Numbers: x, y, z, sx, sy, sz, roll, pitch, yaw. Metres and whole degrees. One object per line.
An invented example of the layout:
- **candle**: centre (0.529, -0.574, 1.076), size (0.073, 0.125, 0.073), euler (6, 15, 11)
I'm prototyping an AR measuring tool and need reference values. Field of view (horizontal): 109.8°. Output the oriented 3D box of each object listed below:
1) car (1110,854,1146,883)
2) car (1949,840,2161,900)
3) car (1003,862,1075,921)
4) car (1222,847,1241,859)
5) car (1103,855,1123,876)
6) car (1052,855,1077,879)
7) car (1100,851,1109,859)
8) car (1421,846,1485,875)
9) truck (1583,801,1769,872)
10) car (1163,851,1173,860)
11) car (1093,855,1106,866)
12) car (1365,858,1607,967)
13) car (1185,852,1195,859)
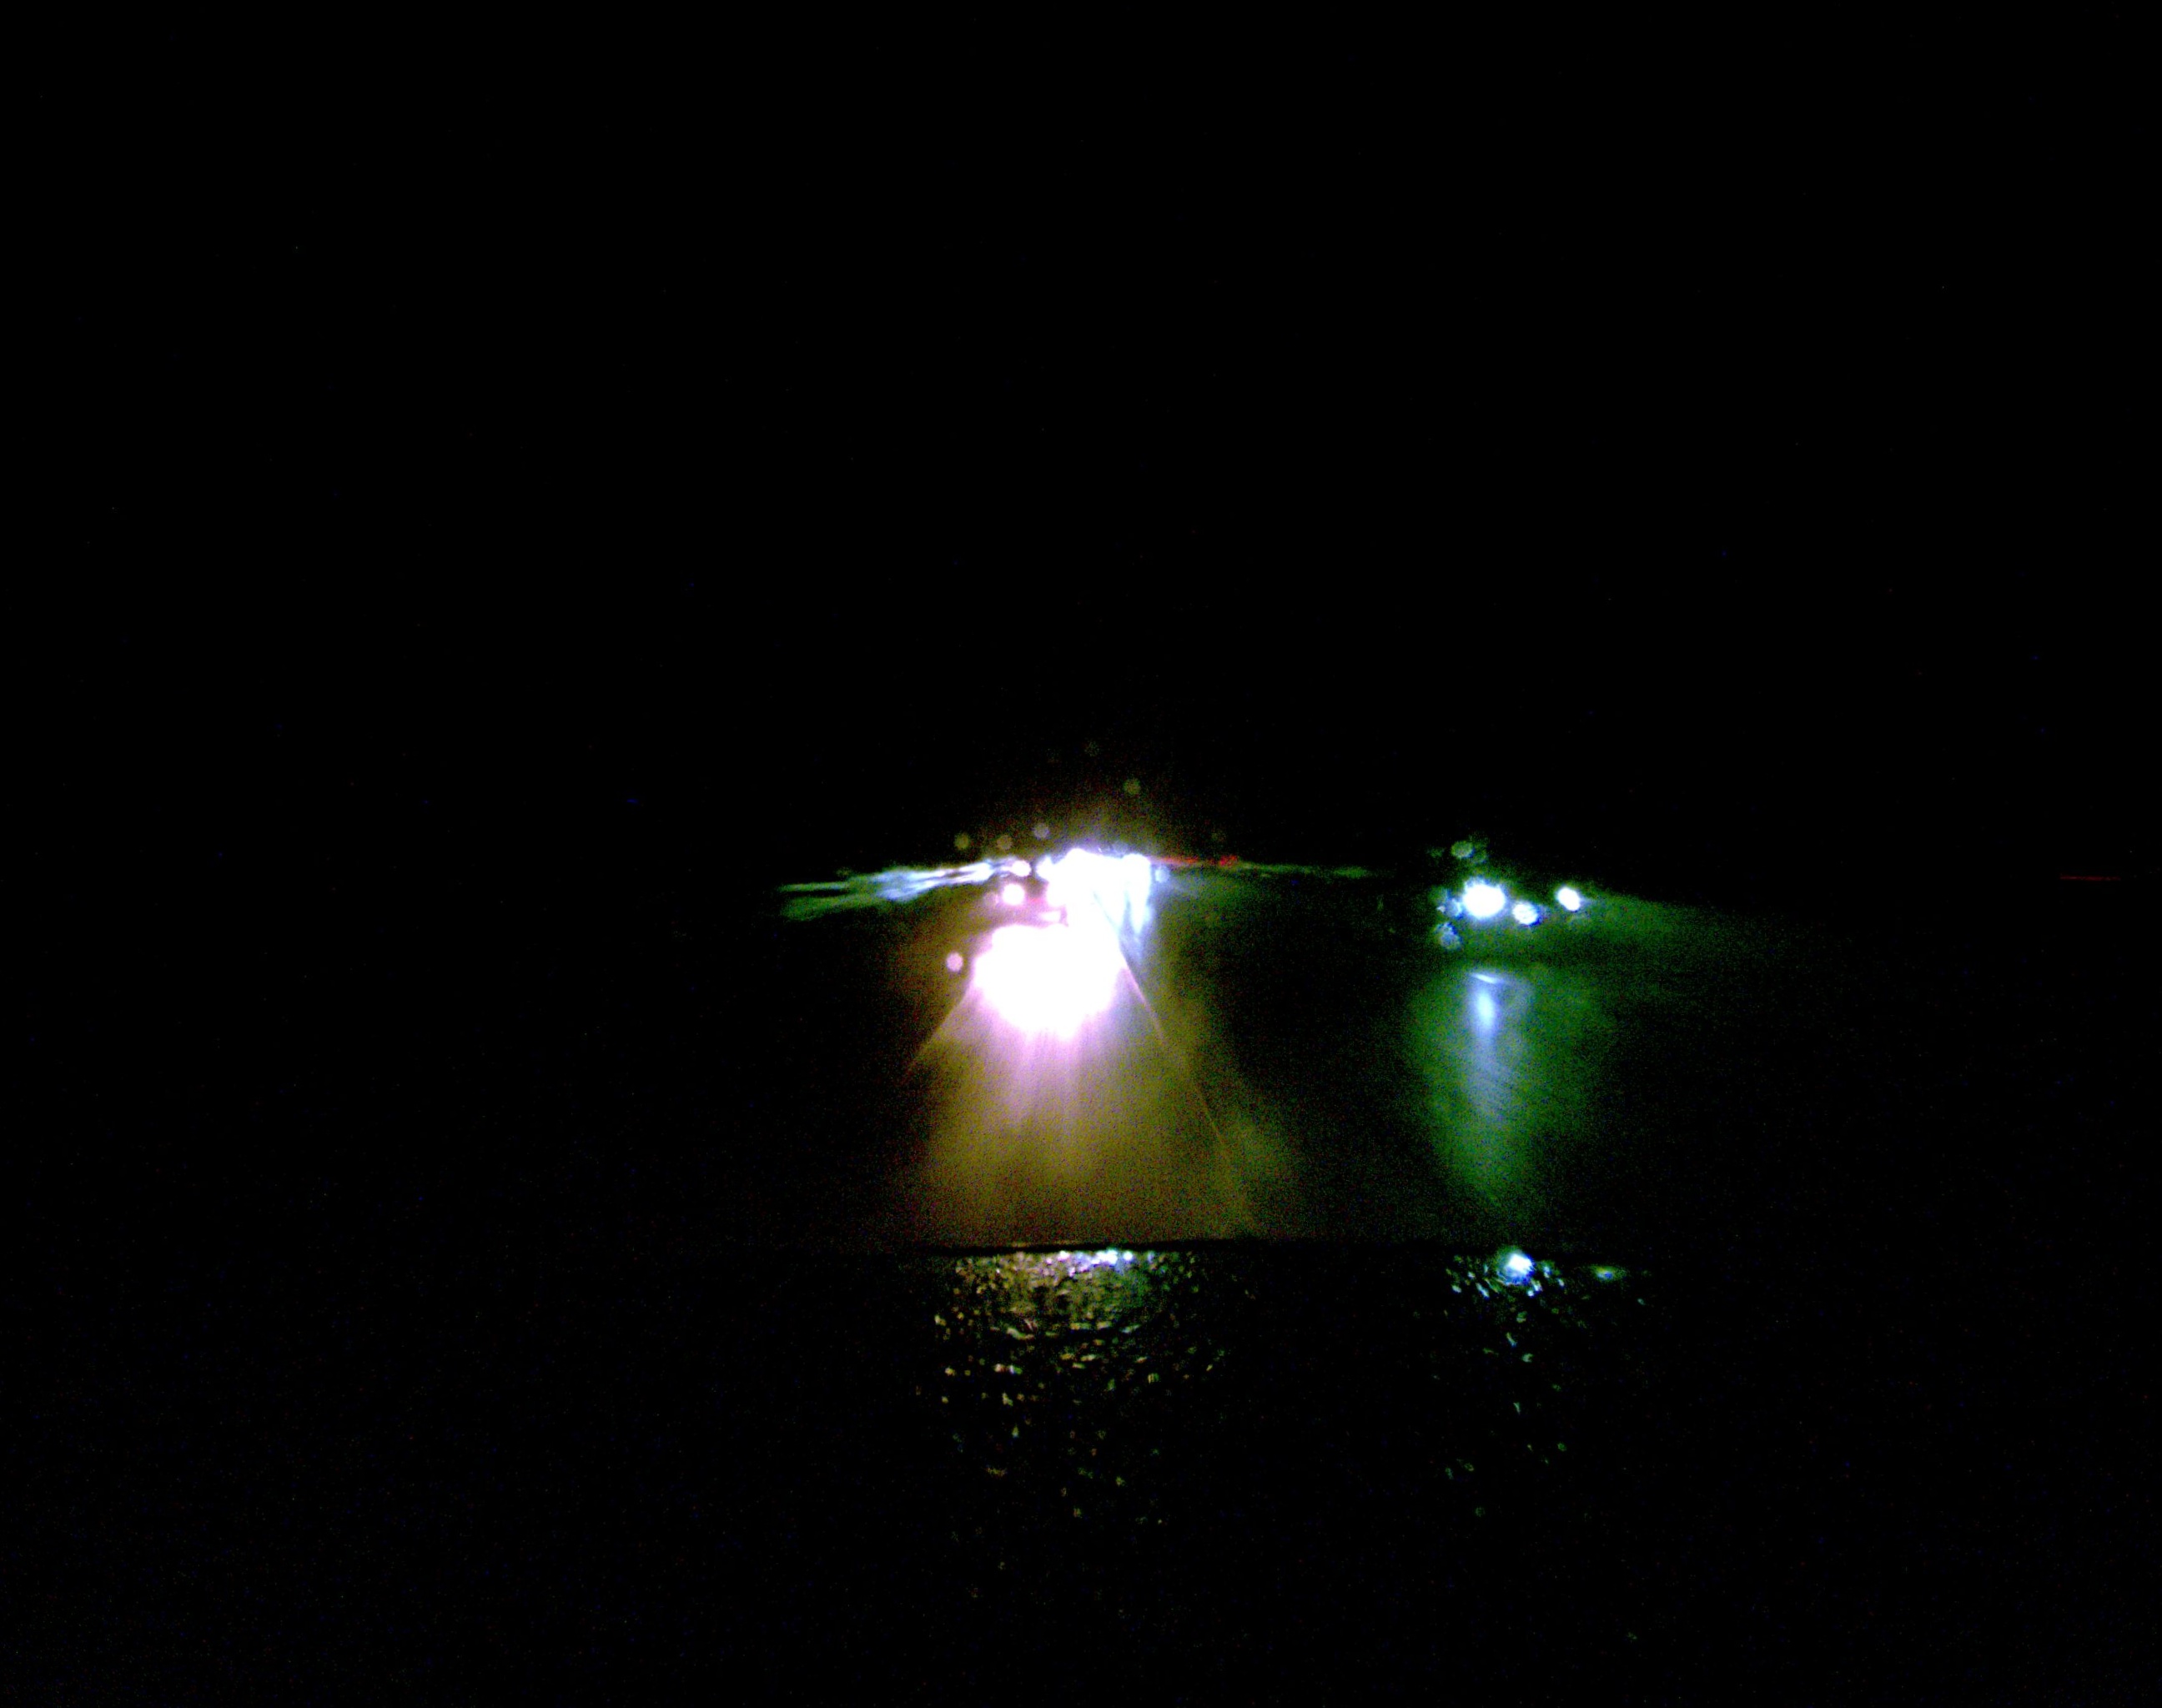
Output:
- **car**: centre (2.979, 0.891, 48.953), size (1.960, 1.655, 4.915), euler (-2, 0, 0)
- **car**: centre (31.209, 0.439, 24.264), size (1.999, 1.663, 4.346), euler (-2, 0, 0)
- **car**: centre (-1.116, 1.015, 22.126), size (1.774, 1.449, 4.195), euler (-2, 0, 1)
- **car**: centre (23.102, -0.156, 116.774), size (1.999, 1.663, 4.346), euler (-2, 0, 0)
- **car**: centre (2.857, 1.024, 68.732), size (1.611, 1.775, 3.910), euler (-2, 1, 0)
- **car**: centre (-1.230, 0.977, 59.374), size (1.792, 1.681, 3.999), euler (-2, 1, 0)
- **car**: centre (5.194, 0.190, 168.850), size (1.800, 1.728, 3.999), euler (-2, 1, 0)
- **car**: centre (23.121, 0.347, 47.387), size (1.617, 1.663, 4.658), euler (-2, 0, 0)
- **truck**: centre (27.289, -0.776, 35.462), size (2.907, 2.830, 7.744), euler (-2, 0, 3)
- **car**: centre (23.004, 0.438, 200.503), size (1.974, 2.387, 4.844), euler (-2, 1, 1)
- **car**: centre (2.653, 0.953, 111.522), size (1.755, 1.563, 3.999), euler (-2, 0, 0)
- **car**: centre (6.328, 0.804, 12.498), size (1.661, 1.422, 4.246), euler (-2, 0, -1)
- **car**: centre (26.792, 0.355, 187.212), size (1.811, 1.509, 4.348), euler (-2, 0, -1)
